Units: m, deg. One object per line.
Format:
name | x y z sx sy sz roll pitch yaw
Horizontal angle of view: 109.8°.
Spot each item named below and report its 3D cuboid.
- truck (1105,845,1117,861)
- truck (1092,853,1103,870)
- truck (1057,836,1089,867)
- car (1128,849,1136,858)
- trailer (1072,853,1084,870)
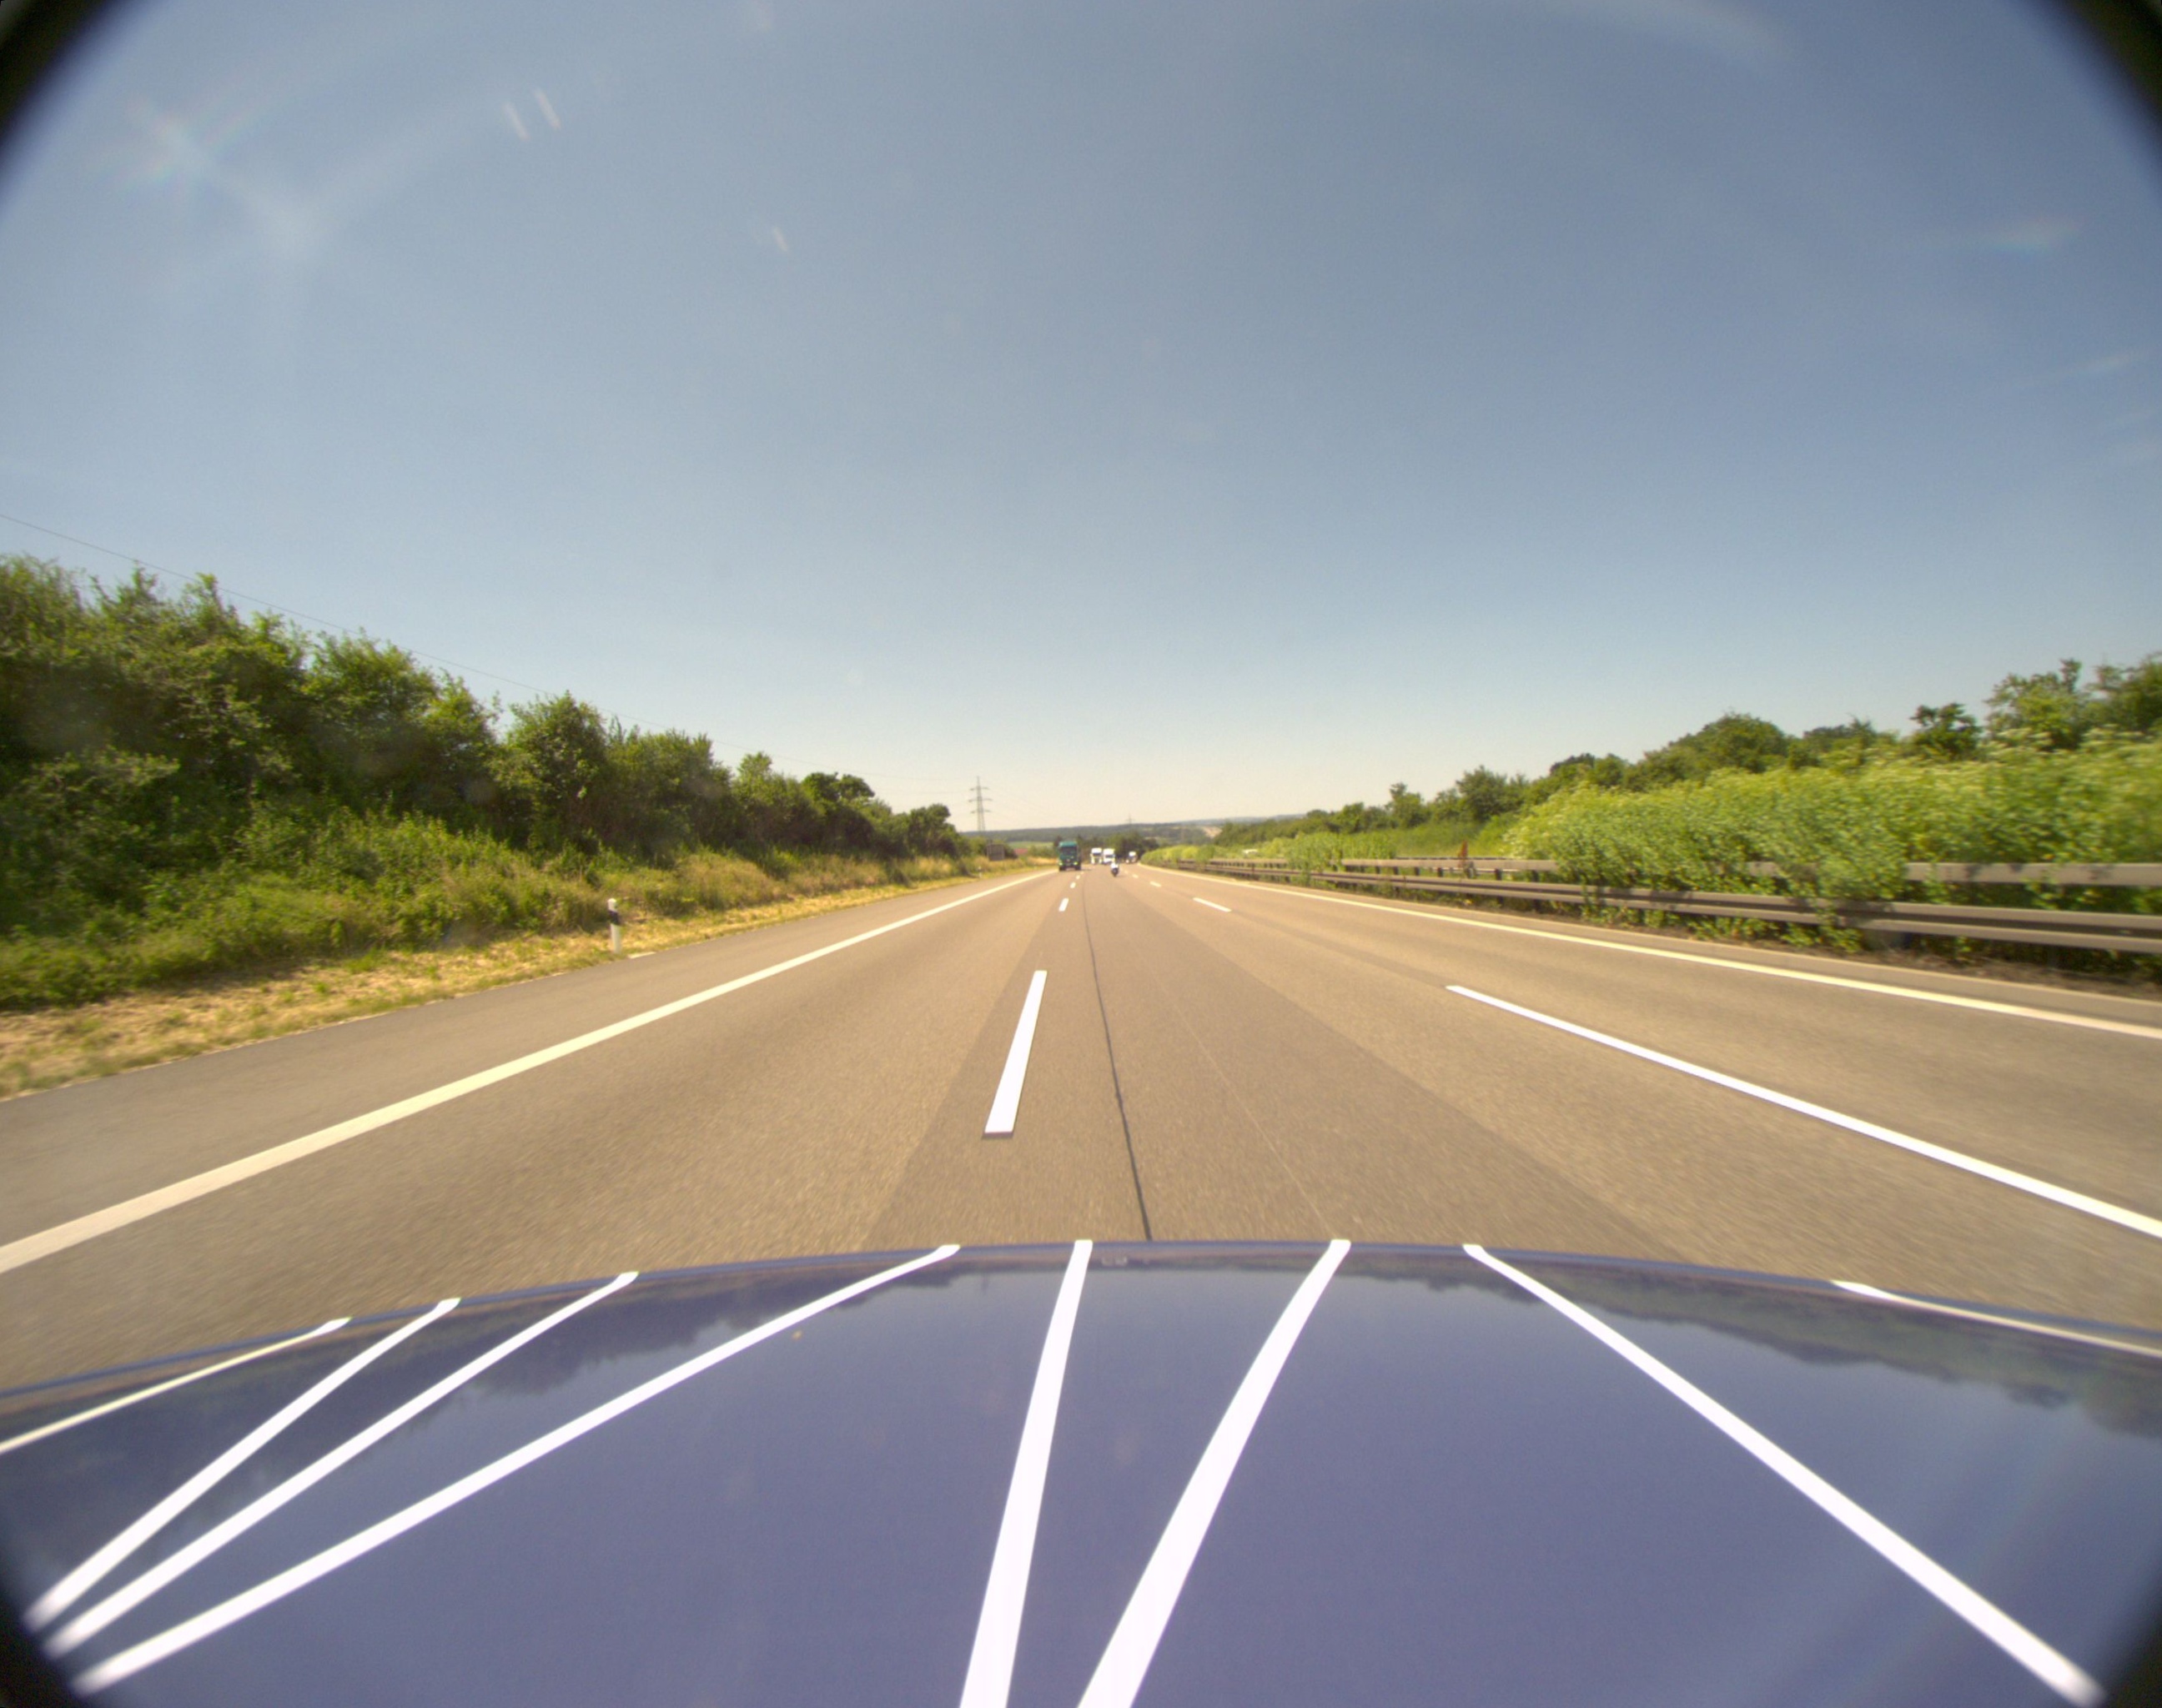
truck | 6.251 -0.138 159.440 2.512 3.268 8.108 -1 0 2
truck | 4.229 1.818 194.495 2.567 4.129 6.249 -2 0 2
truck | -0.905 -0.349 99.211 2.871 3.702 12.768 -1 0 5
car | 11.702 -0.134 175.502 1.704 1.958 4.000 -1 0 2
trailer | -0.767 1.968 201.952 2.607 4.238 13.035 -2 0 2
